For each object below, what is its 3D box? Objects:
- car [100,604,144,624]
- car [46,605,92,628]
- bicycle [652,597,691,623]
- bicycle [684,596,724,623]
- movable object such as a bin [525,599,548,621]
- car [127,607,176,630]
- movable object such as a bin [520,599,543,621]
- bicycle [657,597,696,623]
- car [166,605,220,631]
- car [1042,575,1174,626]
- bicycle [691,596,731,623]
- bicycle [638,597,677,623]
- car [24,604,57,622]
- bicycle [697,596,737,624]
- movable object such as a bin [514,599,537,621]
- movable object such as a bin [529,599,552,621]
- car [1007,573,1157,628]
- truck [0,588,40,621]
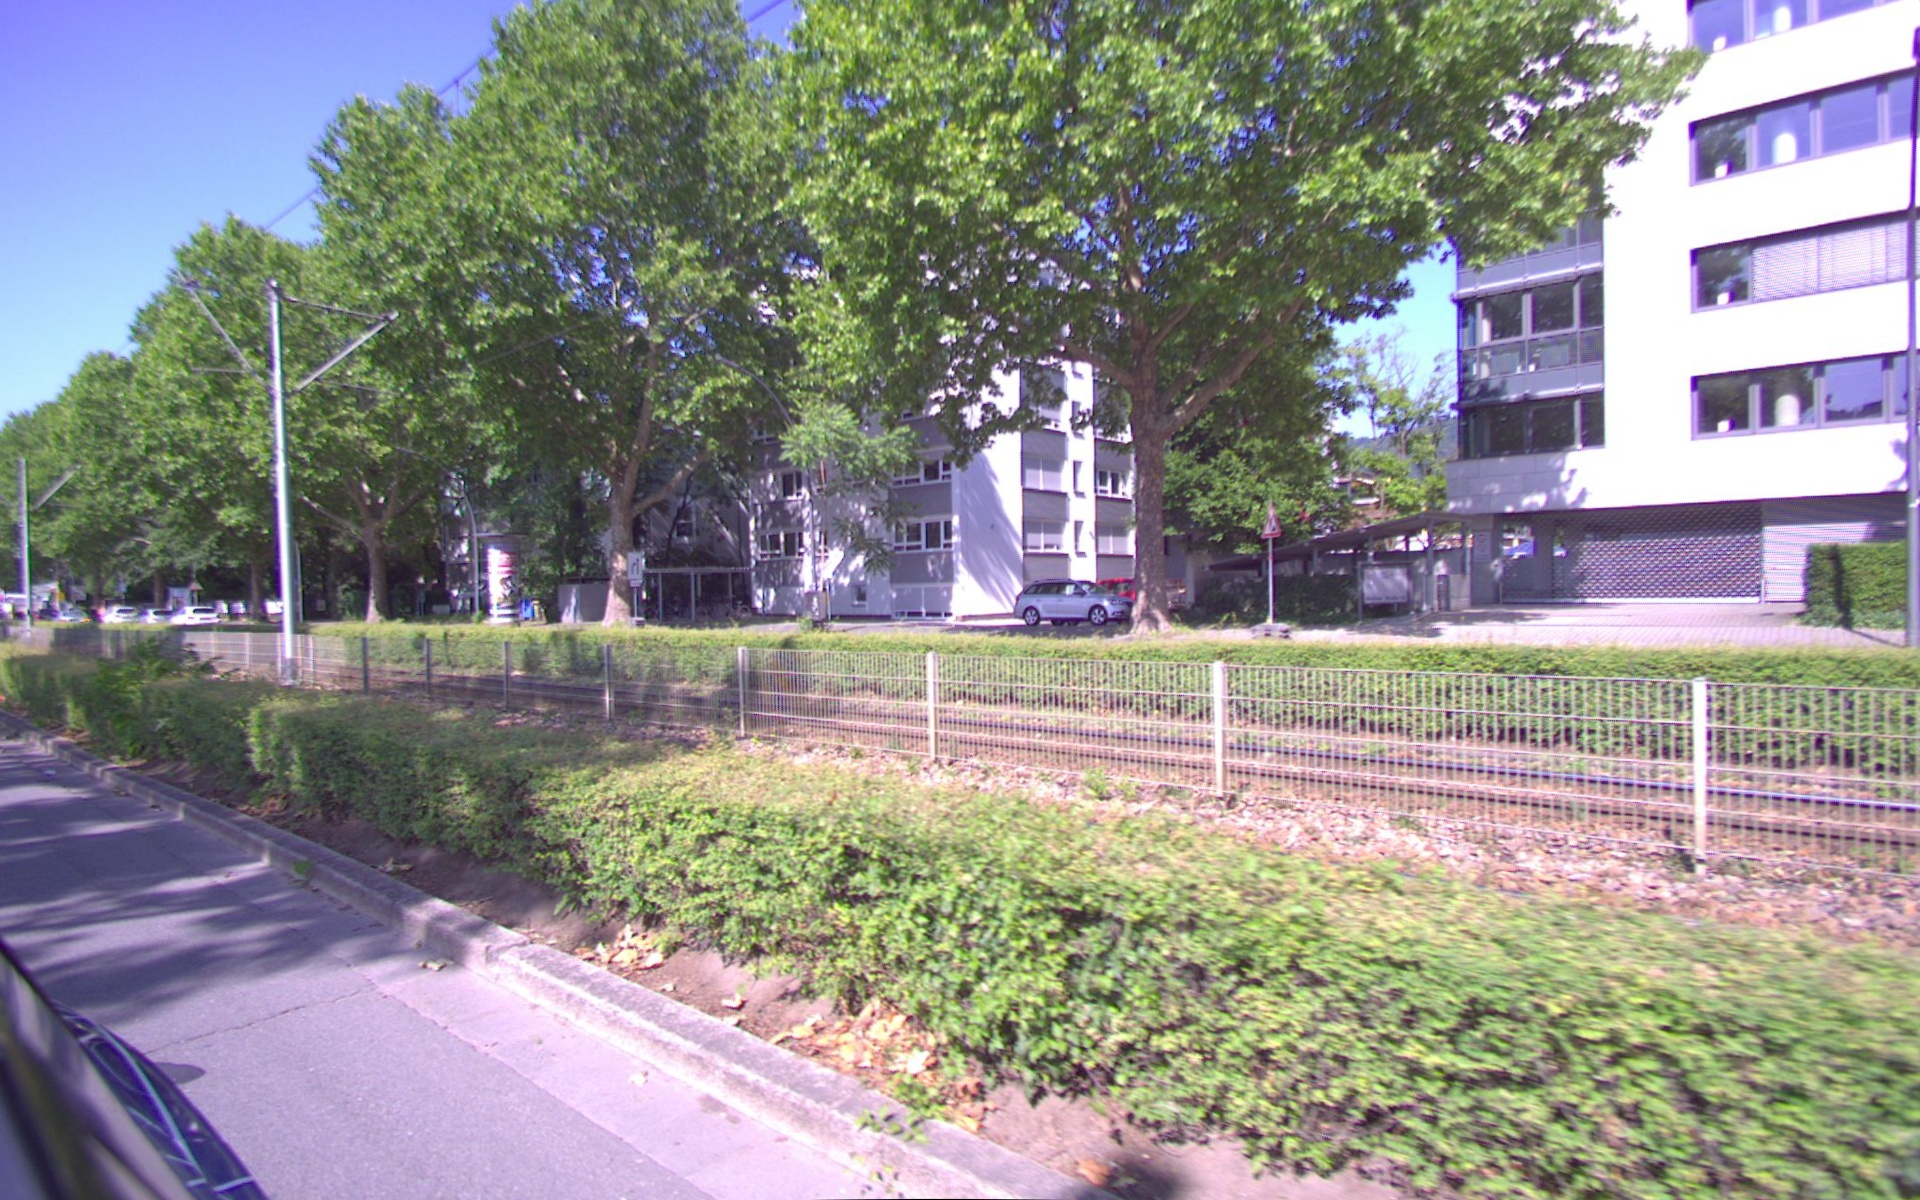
[{"bbox_3d":[-63.469,1.058,76.640,3.997,1.464,1.837,-1,1,40],"label":"car"},{"bbox_3d":[-62.196,1.135,70.627,3.997,1.464,1.837,-1,1,40],"label":"car"},{"bbox_3d":[-13.045,0.445,45.742,0.421,1.111,1.748,-1,1,40],"label":"bicycle"},{"bbox_3d":[-11.201,0.424,44.293,0.421,1.111,1.748,-1,1,40],"label":"bicycle"},{"bbox_3d":[-21.264,0.502,50.812,0.545,1.044,0.887,-1,1,40],"label":"movable object such as a bin"},{"bbox_3d":[-55.498,1.288,69.447,3.997,1.464,1.833,-1,1,41],"label":"car"},{"bbox_3d":[-21.686,0.506,51.188,0.545,1.044,0.887,-1,1,40],"label":"movable object such as a bin"},{"bbox_3d":[-12.716,0.442,45.415,0.421,1.111,1.748,-1,1,40],"label":"bicycle"},{"bbox_3d":[-45.907,1.058,60.578,3.910,1.502,1.796,-1,-1,41],"label":"car"},{"bbox_3d":[4.838,0.019,33.329,3.997,1.561,1.725,-1,1,41],"label":"car"},{"bbox_3d":[-10.818,0.419,43.975,0.421,1.111,1.748,-1,1,40],"label":"bicycle"},{"bbox_3d":[-13.866,0.454,46.452,0.421,1.111,1.748,-1,1,40],"label":"bicycle"},{"bbox_3d":[-82.221,1.183,90.476,3.889,1.424,1.680,-1,3,41],"label":"car"},{"bbox_3d":[-10.469,0.416,43.671,0.421,1.111,1.748,-1,1,40],"label":"bicycle"},{"bbox_3d":[-22.151,0.511,51.577,0.545,1.044,0.887,-1,1,40],"label":"movable object such as a bin"},{"bbox_3d":[-20.888,0.499,50.397,0.545,1.044,0.887,-1,1,40],"label":"movable object such as a bin"},{"bbox_3d":[3.690,0.027,31.185,4.346,1.561,1.724,-1,1,41],"label":"car"},{"bbox_3d":[-99.882,0.460,107.191,6.536,3.303,2.717,-1,1,41],"label":"truck"}]
